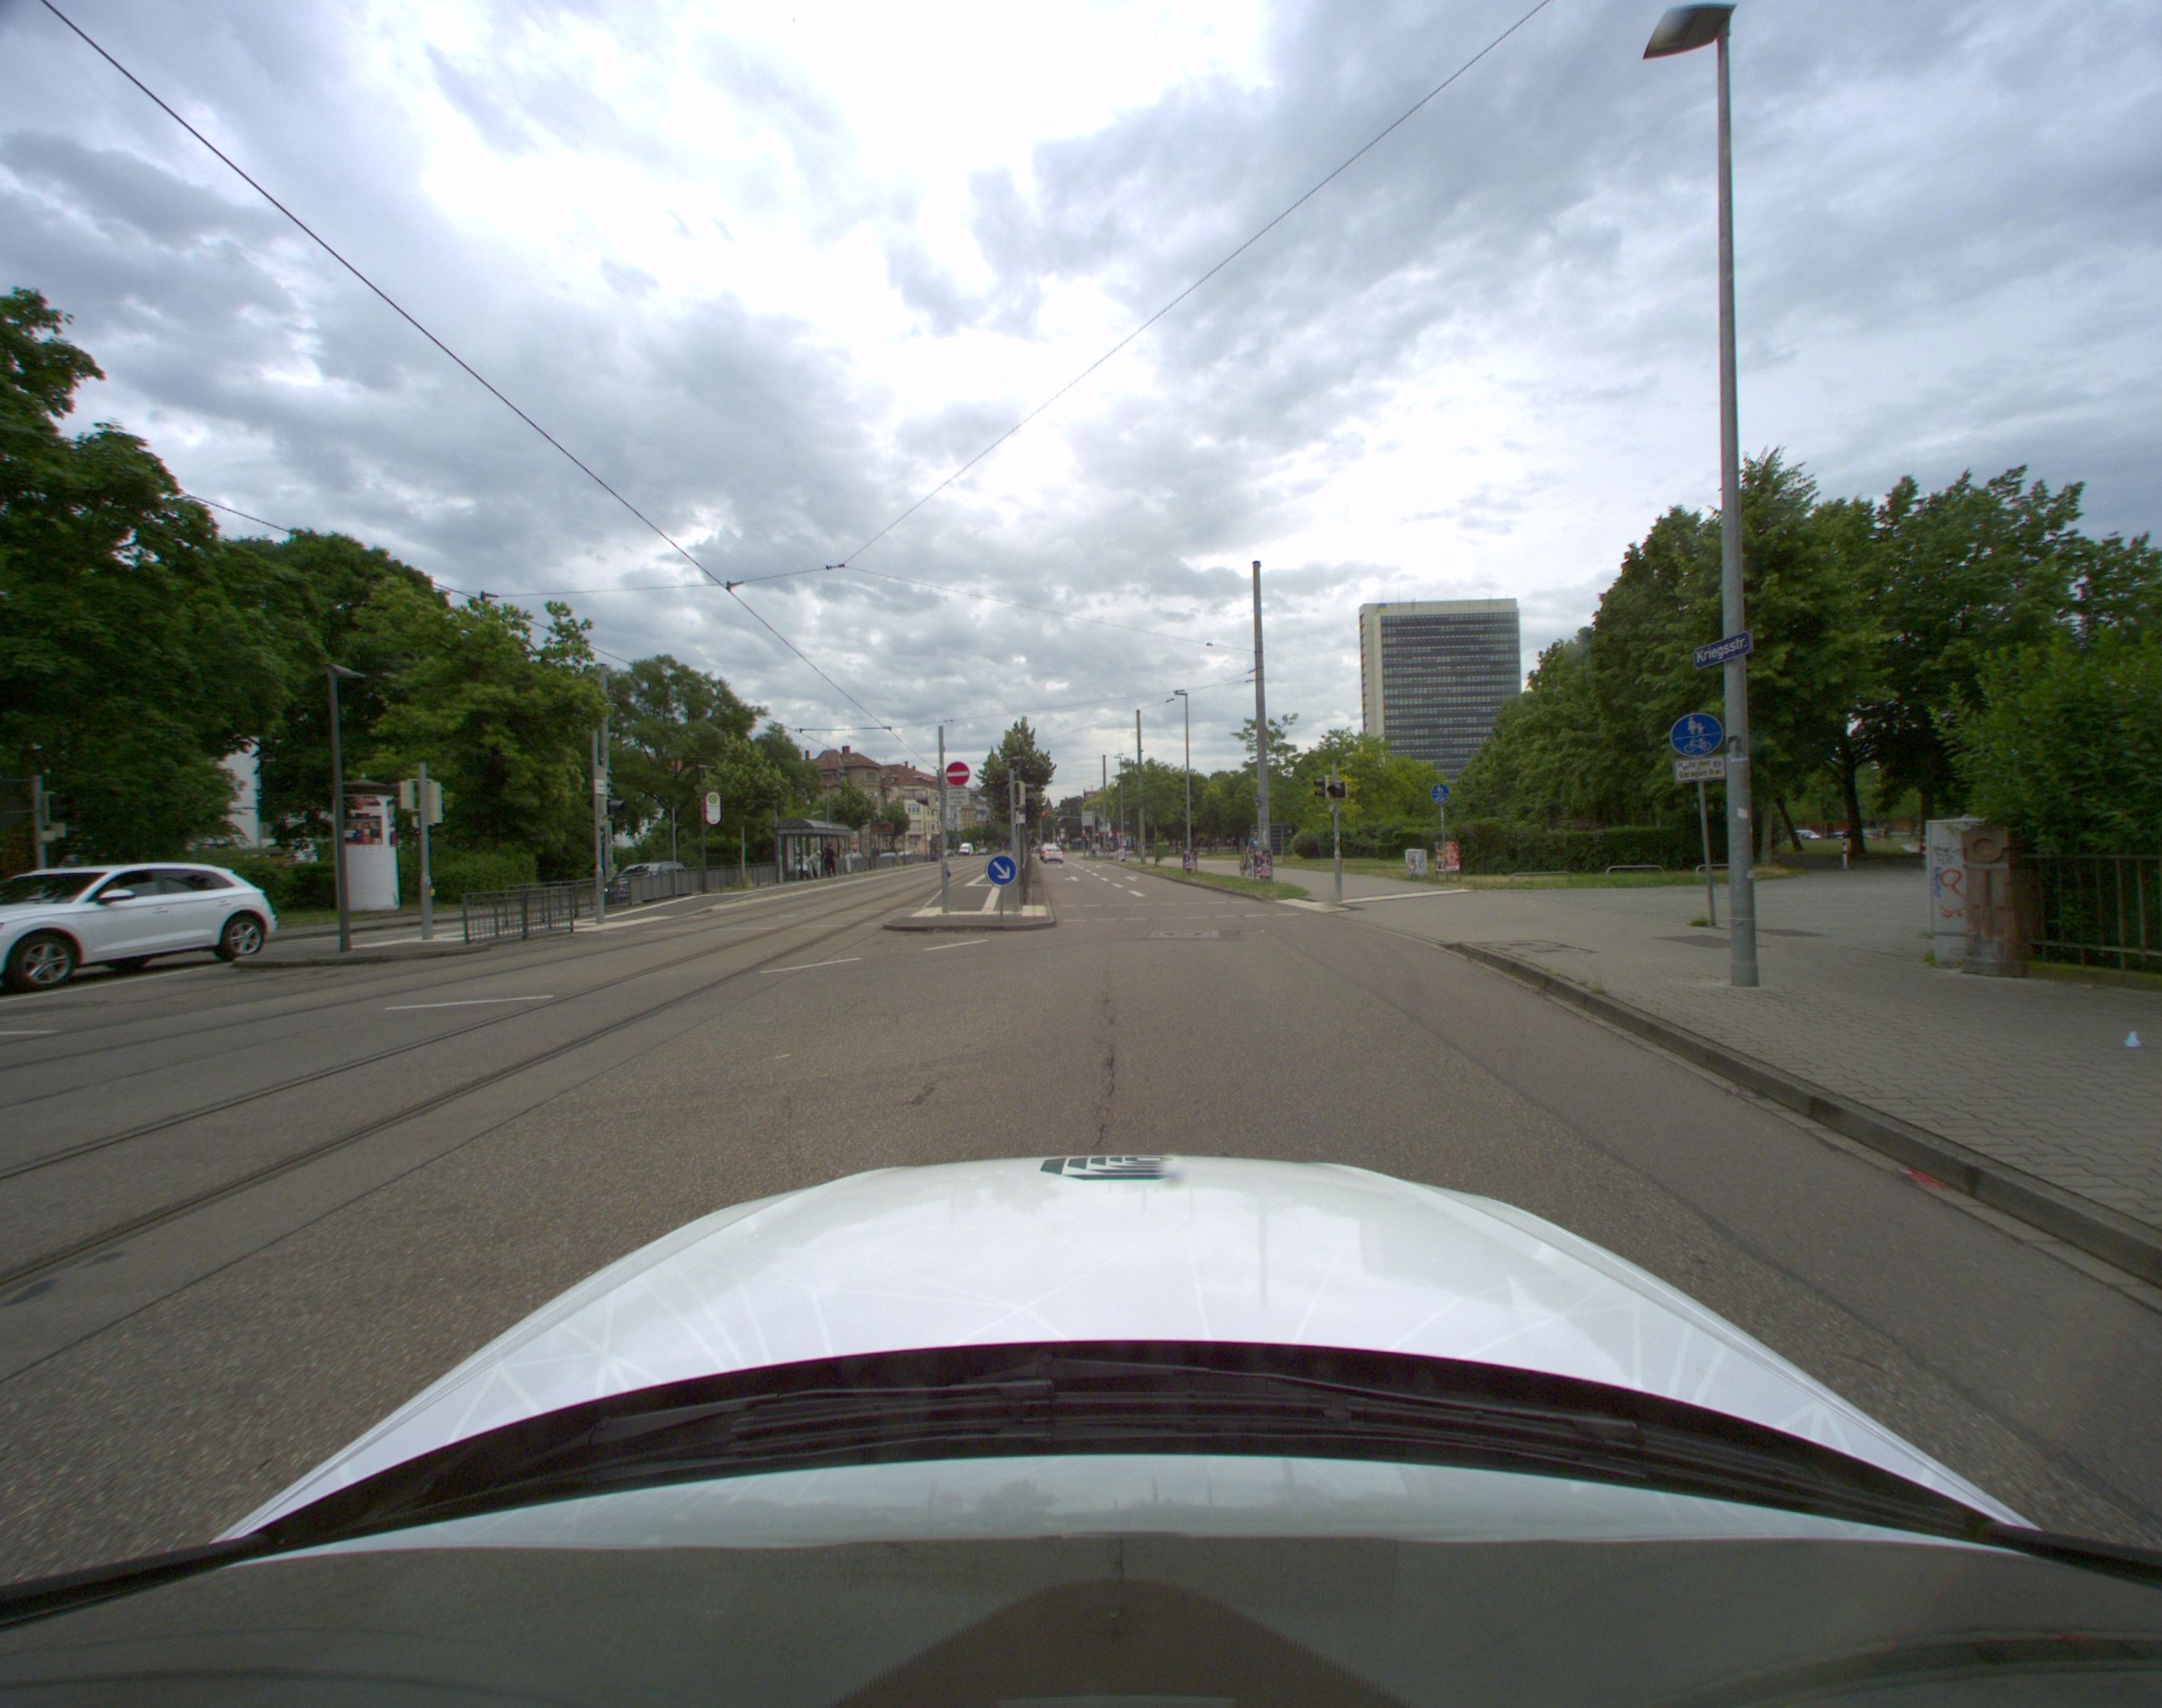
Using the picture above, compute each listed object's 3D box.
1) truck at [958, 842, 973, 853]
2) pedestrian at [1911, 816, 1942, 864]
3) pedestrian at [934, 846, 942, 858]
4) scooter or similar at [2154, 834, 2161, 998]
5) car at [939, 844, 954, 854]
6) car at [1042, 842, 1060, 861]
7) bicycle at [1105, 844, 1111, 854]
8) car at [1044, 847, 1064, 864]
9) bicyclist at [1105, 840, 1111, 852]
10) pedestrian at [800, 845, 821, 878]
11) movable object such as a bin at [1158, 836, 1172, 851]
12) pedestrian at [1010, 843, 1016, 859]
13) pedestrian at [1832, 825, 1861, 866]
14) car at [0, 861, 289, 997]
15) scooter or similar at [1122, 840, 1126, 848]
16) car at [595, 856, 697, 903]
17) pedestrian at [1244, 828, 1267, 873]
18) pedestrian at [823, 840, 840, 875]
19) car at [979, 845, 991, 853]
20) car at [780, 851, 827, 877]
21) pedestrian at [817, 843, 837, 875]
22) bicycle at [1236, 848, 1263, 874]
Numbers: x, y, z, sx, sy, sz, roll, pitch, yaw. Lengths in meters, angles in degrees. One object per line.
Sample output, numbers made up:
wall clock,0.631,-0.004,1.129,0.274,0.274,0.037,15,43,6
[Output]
truck,-21.362,-1.201,150.985,1.780,2.032,5.400,-2,1,3
pedestrian,24.421,-0.407,23.520,0.585,1.357,0.630,-1,1,45
pedestrian,-16.991,-0.239,96.608,0.863,1.267,0.692,-2,1,-6
scooter or similar,7.726,0.432,5.090,0.375,1.141,1.197,-2,1,-6
car,-22.932,-0.844,138.802,1.763,1.493,3.890,-2,1,3
car,-3.317,-0.301,88.601,1.779,1.962,4.376,-2,1,-4
bicycle,3.428,-0.606,101.924,0.677,1.154,1.898,-2,1,1
car,-2.450,0.103,74.915,1.777,1.472,4.008,-2,1,-1
bicyclist,3.399,-1.009,101.926,0.677,1.379,0.727,-2,1,0
pedestrian,-13.831,0.395,41.643,0.672,1.624,0.637,-2,1,20
movable object such as a bin,8.283,-1.055,80.345,1.279,1.390,1.158,-2,0,-3
pedestrian,-6.730,-0.331,80.813,0.530,1.557,0.571,-2,1,0
pedestrian,22.662,-0.256,24.116,0.585,1.183,0.630,-1,1,45
car,-14.606,0.988,11.969,1.768,1.639,4.528,-2,1,-6
scooter or similar,5.604,-1.308,106.415,0.374,1.141,1.202,-2,1,8
car,-15.964,0.886,30.159,1.768,1.493,4.527,-2,1,-7
pedestrian,7.452,-0.165,34.727,0.738,1.869,0.681,-2,1,-4
pedestrian,-12.641,0.186,41.251,0.700,1.715,0.696,-2,1,-12
car,-19.598,-0.953,165.641,1.763,1.493,3.890,-2,1,3
car,-17.455,0.574,51.402,1.766,1.493,3.882,-2,1,-3
pedestrian,-13.780,0.271,44.185,0.767,1.660,1.023,-2,1,-6
bicycle,7.129,0.283,34.586,0.653,1.003,1.777,-2,1,-3
